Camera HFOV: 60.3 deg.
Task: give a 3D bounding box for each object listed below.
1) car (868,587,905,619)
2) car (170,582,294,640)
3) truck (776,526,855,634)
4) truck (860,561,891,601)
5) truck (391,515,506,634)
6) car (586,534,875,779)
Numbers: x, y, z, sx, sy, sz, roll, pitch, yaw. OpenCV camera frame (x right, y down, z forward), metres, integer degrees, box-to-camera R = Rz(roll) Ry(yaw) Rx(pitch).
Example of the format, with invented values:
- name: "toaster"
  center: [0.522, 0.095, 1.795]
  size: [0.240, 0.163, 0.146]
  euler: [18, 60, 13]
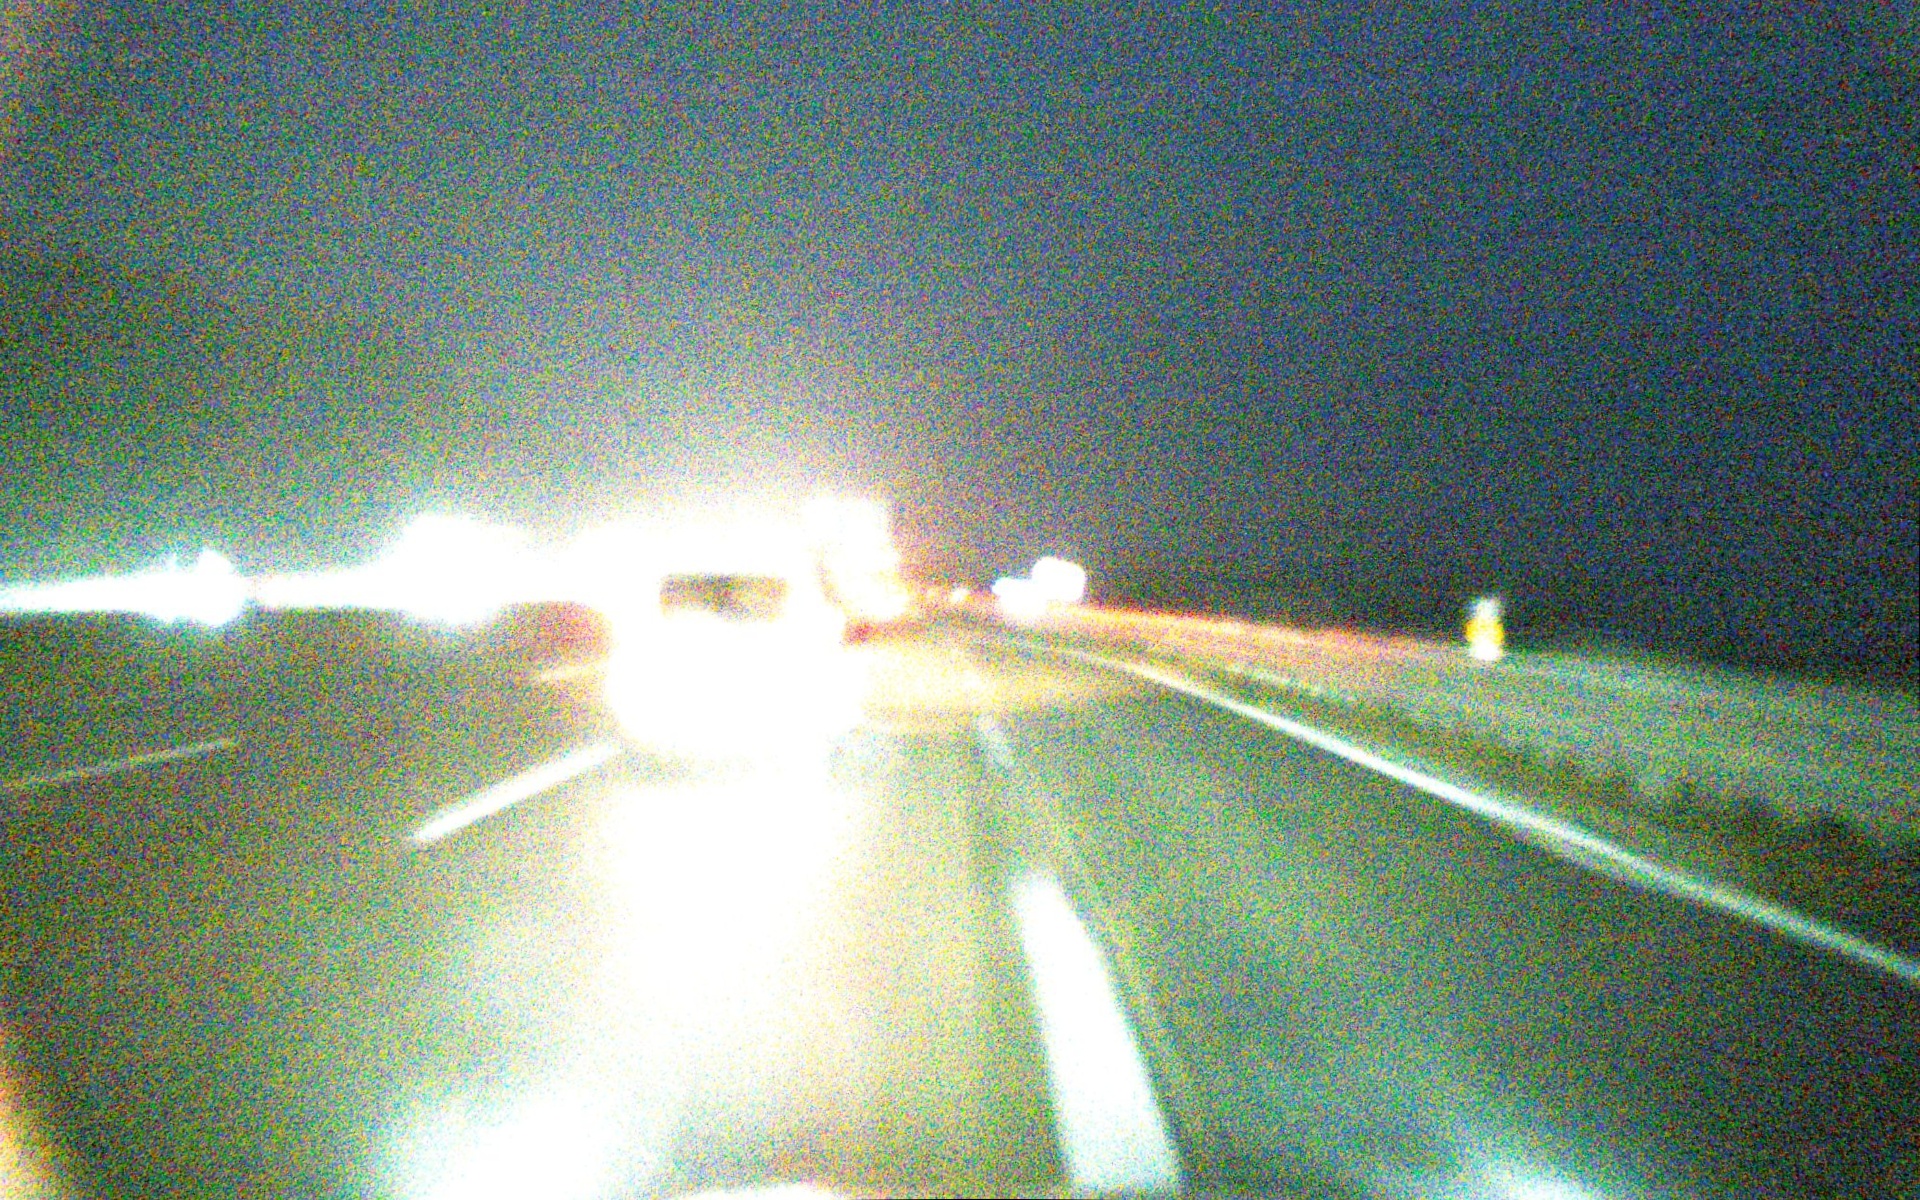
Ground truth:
- name: "car"
  center: [-4.220, 0.157, 93.823]
  size: [1.954, 1.736, 4.192]
  euler: [1, 0, -4]
- name: "car"
  center: [-22.147, 0.317, 50.517]
  size: [1.953, 1.671, 4.252]
  euler: [1, 0, -2]
- name: "truck"
  center: [-8.128, -1.090, 94.915]
  size: [4.085, 5.641, 13.064]
  euler: [1, 0, -4]
- name: "truck"
  center: [-11.080, -2.423, 215.971]
  size: [3.748, 5.001, 11.597]
  euler: [2, 0, -4]
- name: "truck"
  center: [-28.402, -1.375, 92.236]
  size: [4.083, 6.235, 7.342]
  euler: [1, 0, -1]
- name: "car"
  center: [-1.880, 0.428, 15.174]
  size: [1.913, 1.823, 5.123]
  euler: [1, 0, 0]
